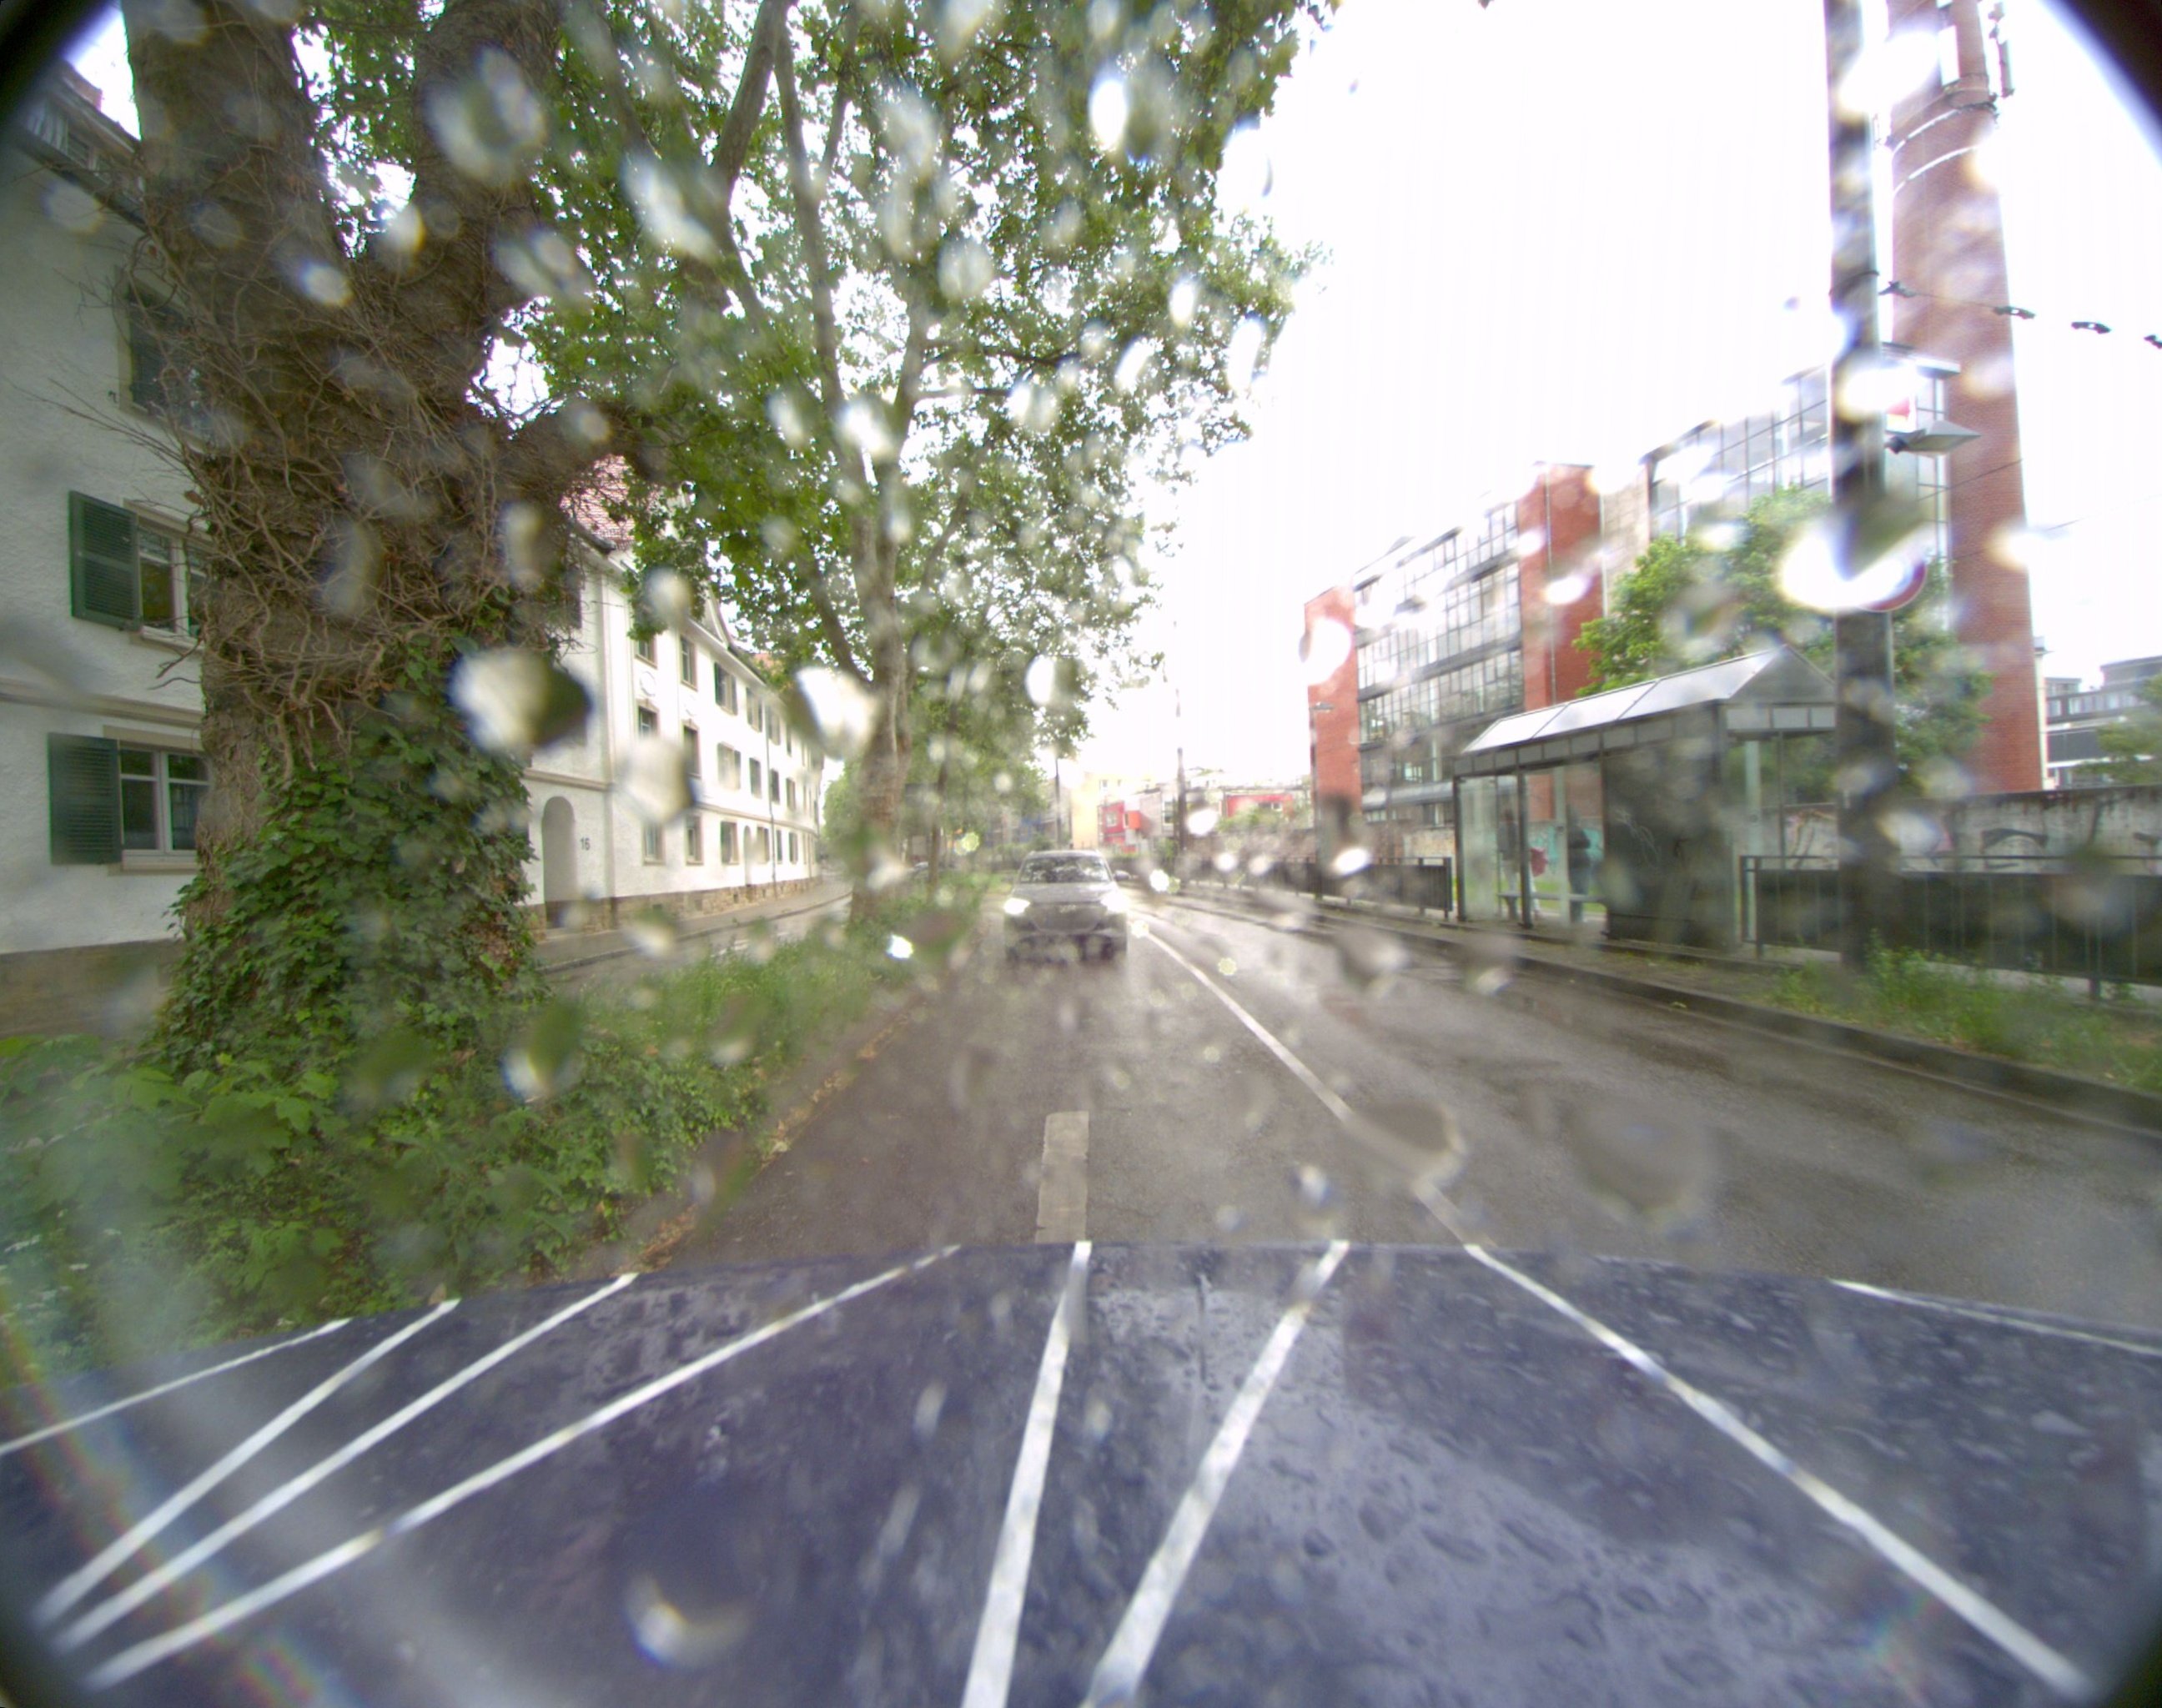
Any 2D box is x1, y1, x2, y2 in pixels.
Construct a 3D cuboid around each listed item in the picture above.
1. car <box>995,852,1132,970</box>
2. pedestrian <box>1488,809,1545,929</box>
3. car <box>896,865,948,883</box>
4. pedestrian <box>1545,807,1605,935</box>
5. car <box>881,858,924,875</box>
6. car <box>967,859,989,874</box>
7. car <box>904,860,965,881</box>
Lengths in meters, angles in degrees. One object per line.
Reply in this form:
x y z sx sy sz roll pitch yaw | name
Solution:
-0.211 0.787 12.648 1.851 1.586 4.216 -2 0 1 | car
6.471 0.219 11.294 0.584 1.721 0.566 -1 1 -41 | pedestrian
-14.676 1.833 70.238 4.328 1.603 1.749 -1 0 6 | car
6.887 0.231 10.590 0.584 1.721 0.566 -1 1 -43 | pedestrian
-22.223 1.509 94.690 4.884 2.002 2.002 -1 0 11 | car
-11.844 1.392 87.139 1.694 1.713 3.685 -1 0 -20 | car
-11.495 1.269 59.720 4.224 1.532 1.932 -1 0 11 | car
